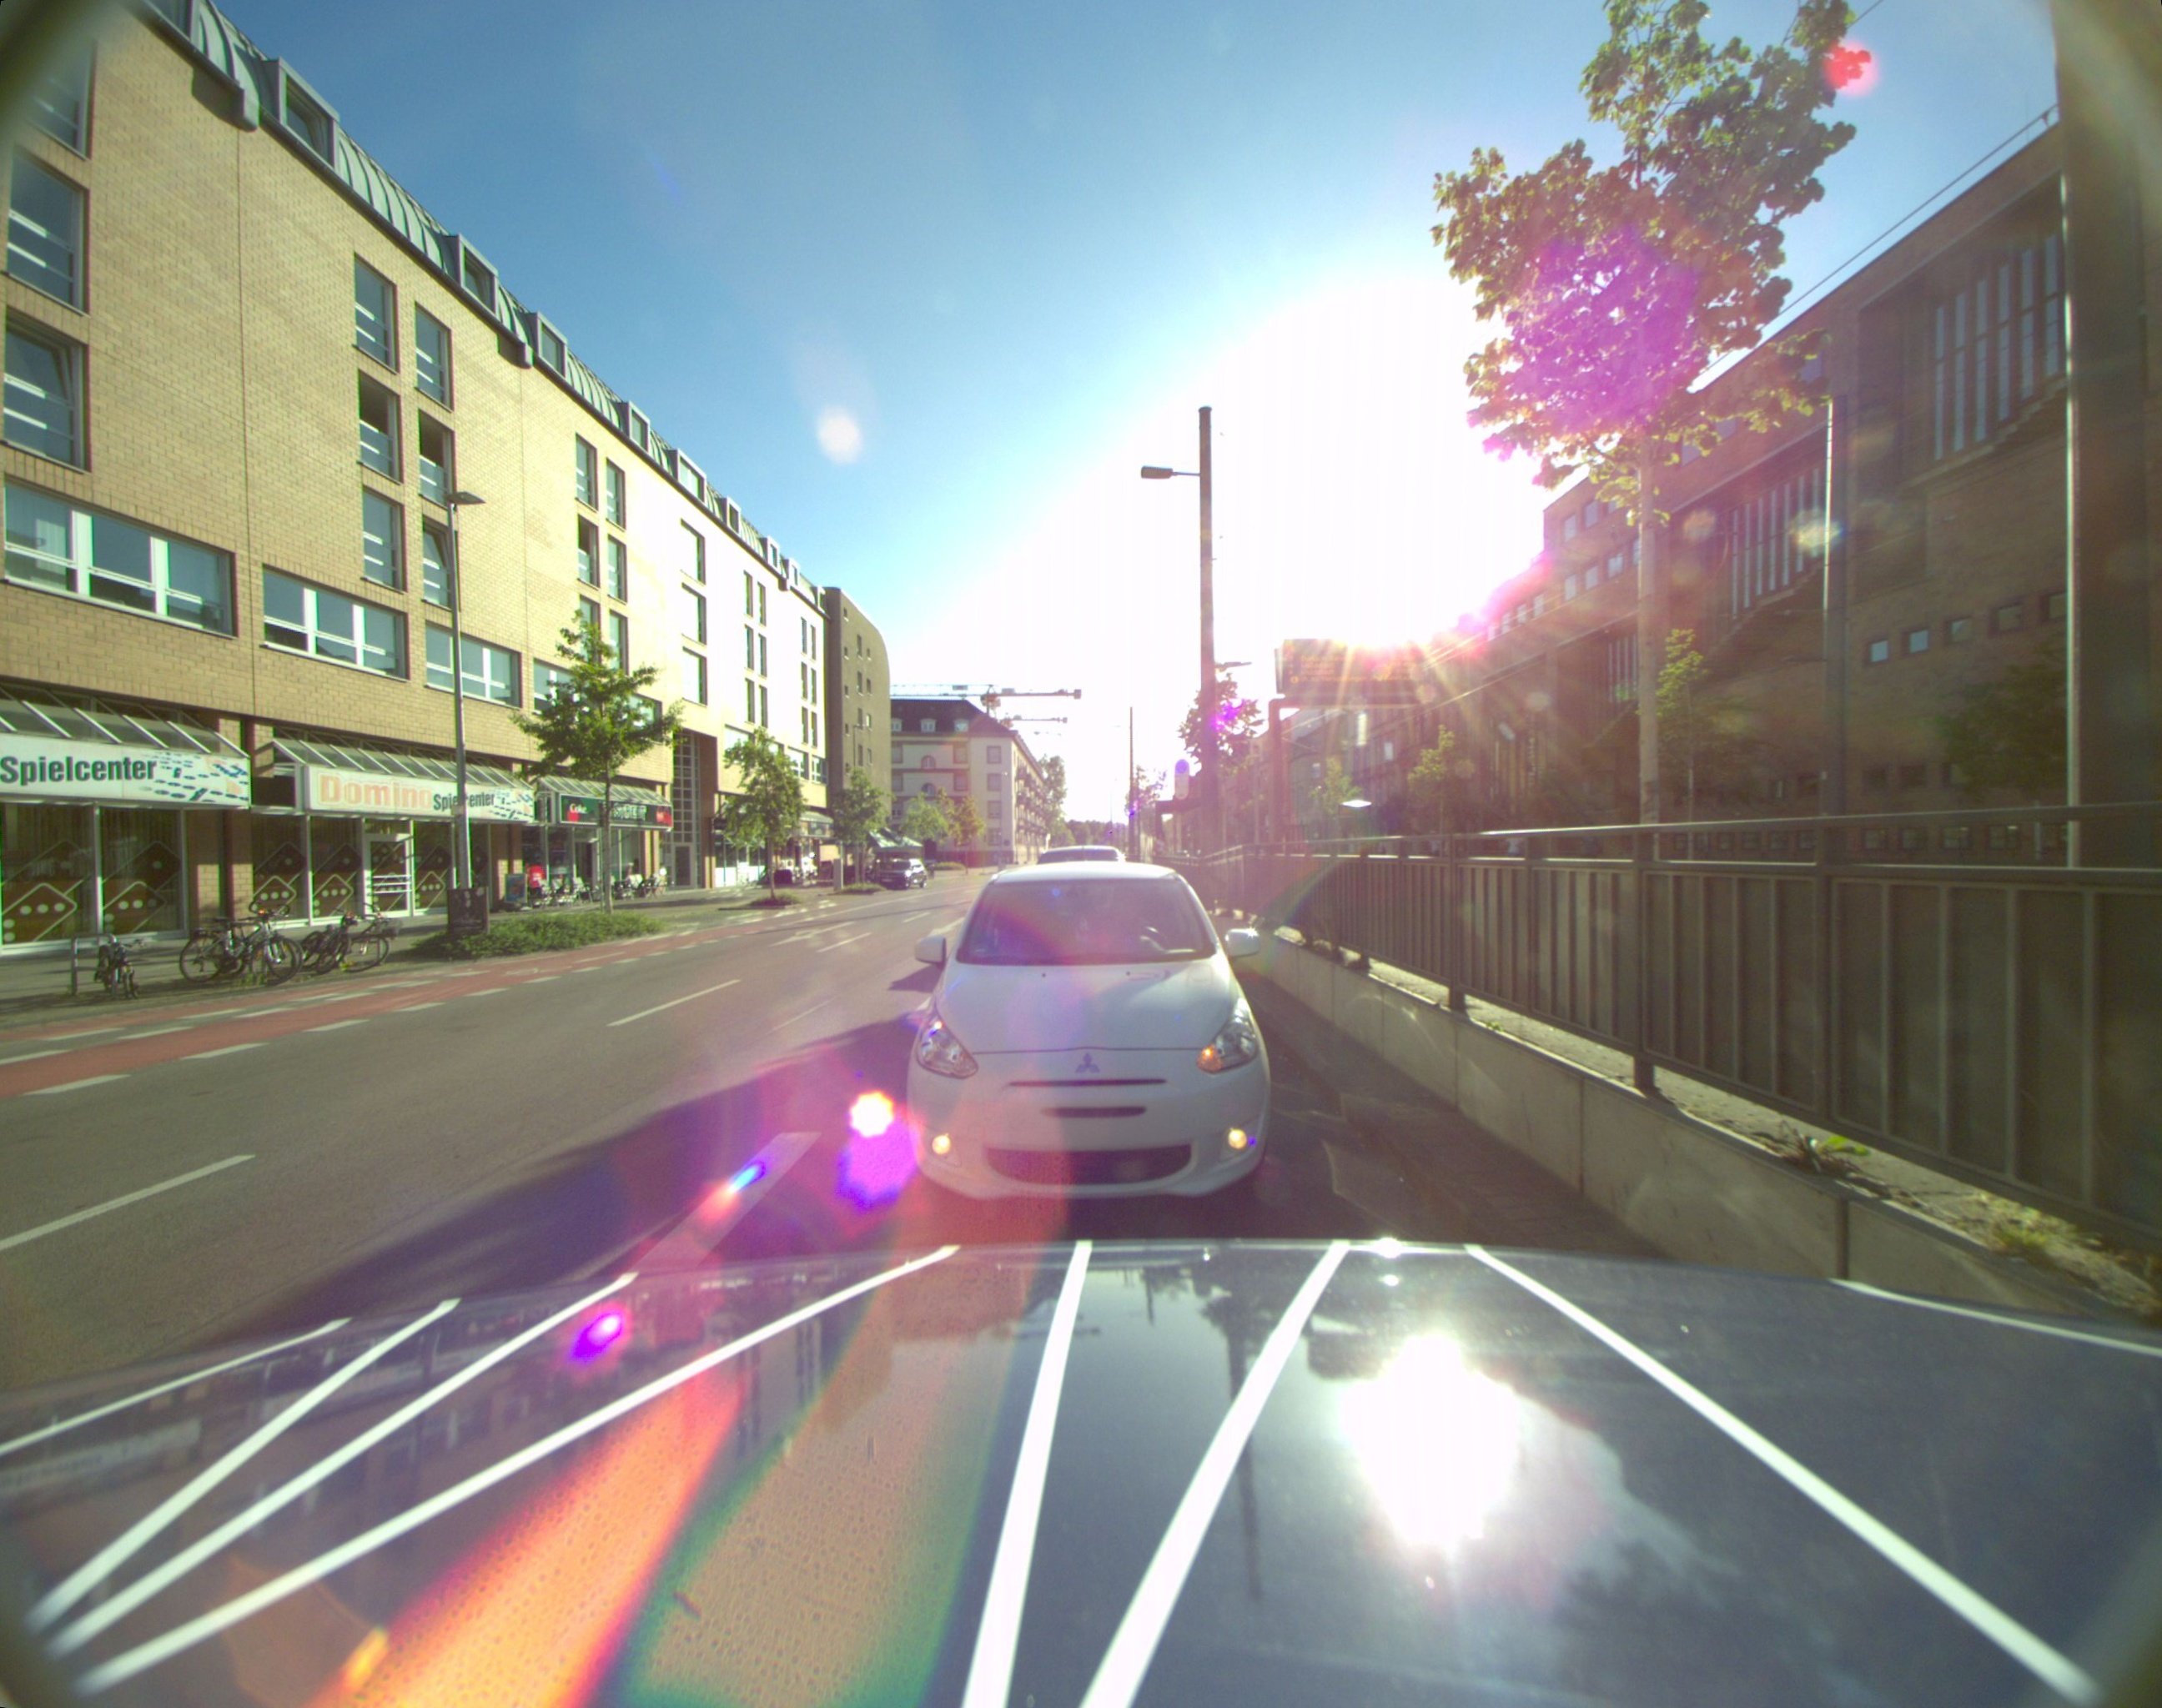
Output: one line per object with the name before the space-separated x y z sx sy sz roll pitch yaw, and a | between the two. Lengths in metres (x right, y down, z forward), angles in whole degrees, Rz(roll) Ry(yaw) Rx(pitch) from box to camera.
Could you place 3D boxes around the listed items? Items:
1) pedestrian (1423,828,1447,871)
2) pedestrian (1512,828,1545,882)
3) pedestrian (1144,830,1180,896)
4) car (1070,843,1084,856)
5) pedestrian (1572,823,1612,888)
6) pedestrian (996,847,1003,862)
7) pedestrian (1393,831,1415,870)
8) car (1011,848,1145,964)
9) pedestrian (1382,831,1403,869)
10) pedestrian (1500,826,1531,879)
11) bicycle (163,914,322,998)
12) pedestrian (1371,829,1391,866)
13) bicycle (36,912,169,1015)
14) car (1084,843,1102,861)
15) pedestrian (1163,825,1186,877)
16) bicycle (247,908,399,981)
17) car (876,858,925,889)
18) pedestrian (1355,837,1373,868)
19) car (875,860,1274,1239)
pedestrian | 14.431 -0.187 30.957 0.692 1.732 0.586 -1 1 -2
pedestrian | 14.460 0.032 24.568 0.692 1.732 0.586 -1 1 -2
pedestrian | 2.517 0.265 23.571 0.782 2.002 0.882 0 1 35
car | -0.516 -0.595 96.715 1.829 1.644 3.682 -1 0 -1
pedestrian | 13.918 0.041 20.700 0.692 1.732 0.586 -1 1 -2
pedestrian | -9.330 0.067 86.733 0.804 1.656 0.890 -1 1 -7
pedestrian | 14.296 -0.158 33.651 0.692 1.732 0.586 -1 1 -2
car | -0.018 0.765 13.615 1.955 1.652 4.355 -2 1 1
pedestrian | 14.388 -0.169 35.104 0.692 1.732 0.586 -1 1 -2
pedestrian | 14.416 -0.045 25.236 0.692 1.732 0.586 -1 1 -2
bicycle | -12.360 1.486 11.225 1.774 1.135 0.553 0 2 3
pedestrian | 14.347 -0.297 36.352 0.692 1.732 0.586 -1 1 -2
bicycle | -12.828 1.401 9.960 1.771 1.142 0.554 1 2 21
car | 1.370 -0.255 87.181 1.998 1.958 4.000 -1 0 1
pedestrian | 3.647 -0.110 29.758 0.784 2.002 0.880 -1 1 2
bicycle | -12.398 1.469 12.455 1.774 1.065 0.737 0 2 3
car | -9.880 1.049 41.881 1.655 1.521 3.692 -2 1 1
pedestrian | 14.506 -0.067 38.947 0.692 1.566 0.586 -1 1 -2
car | 0.002 0.853 5.315 1.640 1.458 4.185 -2 1 1
